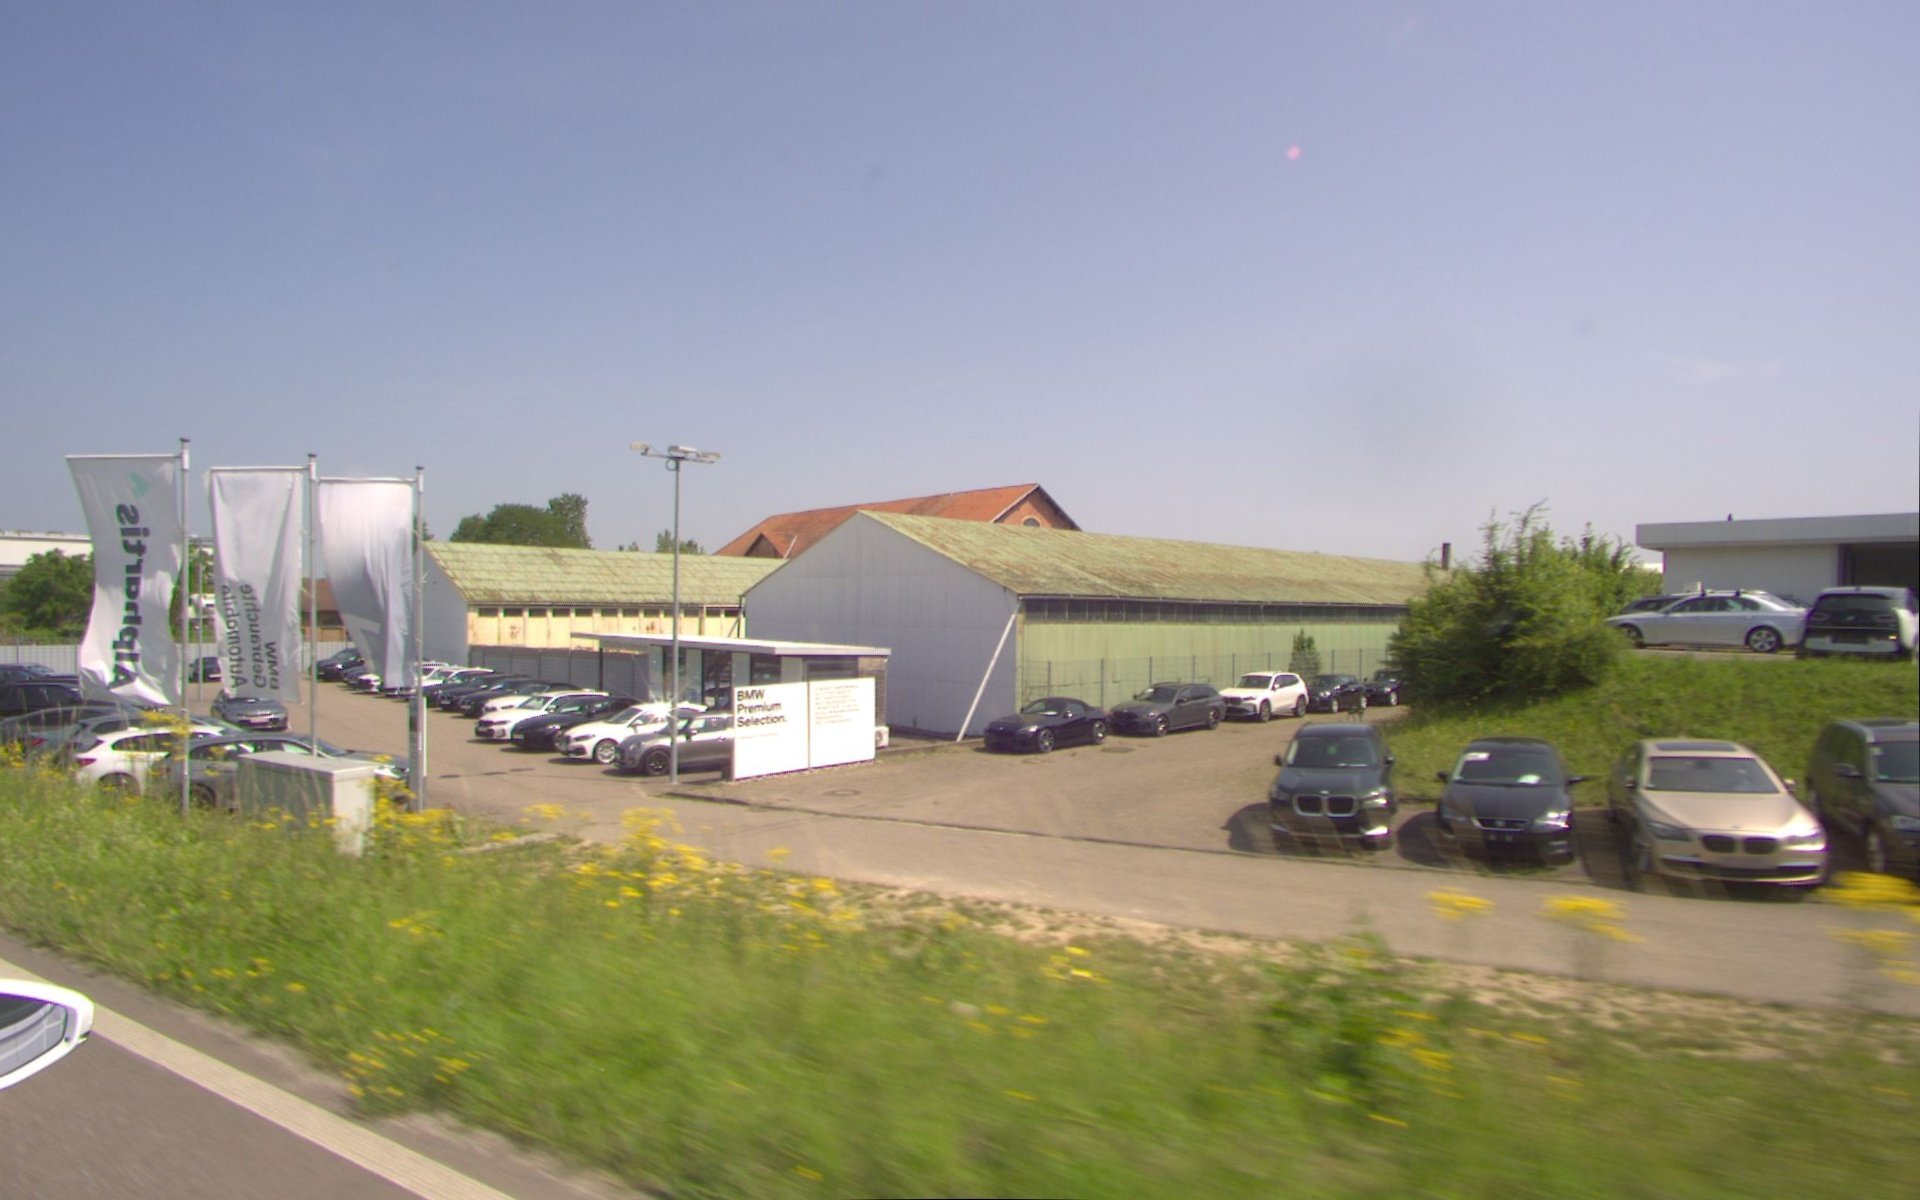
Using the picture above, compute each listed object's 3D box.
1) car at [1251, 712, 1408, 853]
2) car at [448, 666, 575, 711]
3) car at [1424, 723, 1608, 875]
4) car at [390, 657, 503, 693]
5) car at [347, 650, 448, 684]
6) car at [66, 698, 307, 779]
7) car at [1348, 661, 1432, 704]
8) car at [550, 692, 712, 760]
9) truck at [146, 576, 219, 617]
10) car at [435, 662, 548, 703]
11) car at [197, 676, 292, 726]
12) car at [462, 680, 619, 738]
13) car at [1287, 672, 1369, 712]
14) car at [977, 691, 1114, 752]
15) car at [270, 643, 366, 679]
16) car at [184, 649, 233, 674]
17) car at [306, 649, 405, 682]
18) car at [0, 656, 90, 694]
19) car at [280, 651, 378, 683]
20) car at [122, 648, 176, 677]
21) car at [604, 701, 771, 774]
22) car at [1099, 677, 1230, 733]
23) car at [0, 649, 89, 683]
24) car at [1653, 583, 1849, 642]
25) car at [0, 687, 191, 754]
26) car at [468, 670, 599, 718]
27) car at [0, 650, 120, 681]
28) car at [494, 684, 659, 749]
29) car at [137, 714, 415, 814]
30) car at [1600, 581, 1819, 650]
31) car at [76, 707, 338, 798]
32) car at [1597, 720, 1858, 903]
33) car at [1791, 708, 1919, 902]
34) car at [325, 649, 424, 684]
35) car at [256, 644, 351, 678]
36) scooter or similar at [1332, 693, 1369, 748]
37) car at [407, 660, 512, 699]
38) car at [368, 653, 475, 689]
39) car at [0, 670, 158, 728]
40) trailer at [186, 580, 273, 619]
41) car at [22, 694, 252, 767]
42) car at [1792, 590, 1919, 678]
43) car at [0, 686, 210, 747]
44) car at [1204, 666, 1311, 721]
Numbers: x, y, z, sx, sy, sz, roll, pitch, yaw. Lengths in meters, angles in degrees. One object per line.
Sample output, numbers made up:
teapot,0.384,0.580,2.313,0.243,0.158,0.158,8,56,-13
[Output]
car,6.201,2.854,16.632,2.112,1.660,4.485,-2,-3,23
car,-18.330,3.578,41.144,1.902,1.542,4.603,-1,-2,27
car,8.259,2.858,15.247,1.967,1.572,3.990,-3,-2,23
car,-24.596,3.567,48.160,1.881,1.542,4.645,-1,-2,27
car,-29.118,3.457,51.969,1.878,1.543,4.329,1,-1,22
car,-17.563,3.106,23.036,4.113,1.542,1.848,2,-2,-30
car,18.011,3.407,41.888,4.138,1.660,1.722,3,-3,-43
car,-9.020,3.406,27.578,3.923,1.542,1.739,1,-2,-37
truck,-82.779,-0.282,106.805,2.835,4.081,6.724,1,-2,-5
car,-20.261,3.538,43.488,1.768,1.542,4.313,-1,-2,27
car,-25.354,3.526,35.414,2.122,1.475,4.489,3,-3,-44
car,-13.637,3.490,32.766,1.908,1.542,4.410,-1,-2,37
car,14.346,3.543,38.951,3.665,1.370,1.575,3,-3,-45
car,2.438,3.311,27.805,1.702,1.393,3.916,-2,-3,44
car,-36.591,3.451,57.183,1.878,1.828,4.329,1,-1,22
car,-44.811,3.647,59.797,1.973,1.415,3.978,2,-3,-32
car,-32.896,3.541,54.620,1.878,1.596,4.329,1,-1,22
car,-42.173,3.330,44.798,4.577,1.625,1.847,2,-2,-29
car,-34.979,3.678,55.672,1.878,1.543,4.329,1,-1,22
car,-46.814,3.591,57.874,1.831,1.553,4.618,2,-3,-32
car,-6.863,3.401,25.303,3.750,1.542,1.743,2,-2,-31
car,6.492,3.246,31.452,1.963,1.489,4.419,-2,-3,44
car,-46.318,3.256,49.487,4.572,1.518,1.848,2,0,-26
car,23.090,0.360,29.358,1.903,1.617,4.265,0,0,-41
car,-23.240,3.166,26.662,4.111,1.542,1.848,2,-2,-29
car,-16.539,3.618,39.108,1.902,1.542,4.603,-1,-2,27
car,-47.142,3.437,52.535,4.294,1.522,1.840,1,-1,-14
car,-11.502,3.439,30.302,1.905,1.542,4.417,-1,-2,32
car,-12.859,3.047,19.153,4.106,1.542,1.685,2,-2,-24
car,19.288,0.393,25.896,1.903,1.617,4.265,0,0,-41
car,-15.455,3.100,20.862,4.111,1.542,1.744,2,-2,-29
car,10.354,2.710,13.950,1.969,1.527,4.763,-3,-1,27
car,12.654,2.507,12.949,1.969,1.771,4.245,-3,-1,27
car,-31.110,3.498,53.328,1.878,1.596,4.329,1,-1,22
car,-38.703,3.545,59.165,1.964,1.828,4.329,1,-1,22
scooter or similar,10.564,3.237,27.052,0.613,1.330,1.973,0,-2,31
car,-22.537,3.550,45.242,1.731,1.542,3.997,-1,-2,27
car,-26.867,3.505,50.114,1.878,1.543,4.604,1,-1,22
car,-29.614,3.225,33.033,4.570,1.723,1.849,2,0,-24
trailer,-82.508,0.041,113.340,2.832,4.081,8.701,0,-2,5
car,-20.372,3.200,25.038,4.111,1.542,1.848,2,-2,-29
car,17.695,0.620,19.633,3.850,1.553,1.751,1,0,-44
car,-25.002,3.368,29.318,4.572,1.542,1.850,2,-2,-26
car,10.656,3.280,35.667,1.903,1.751,4.279,-1,-3,44
